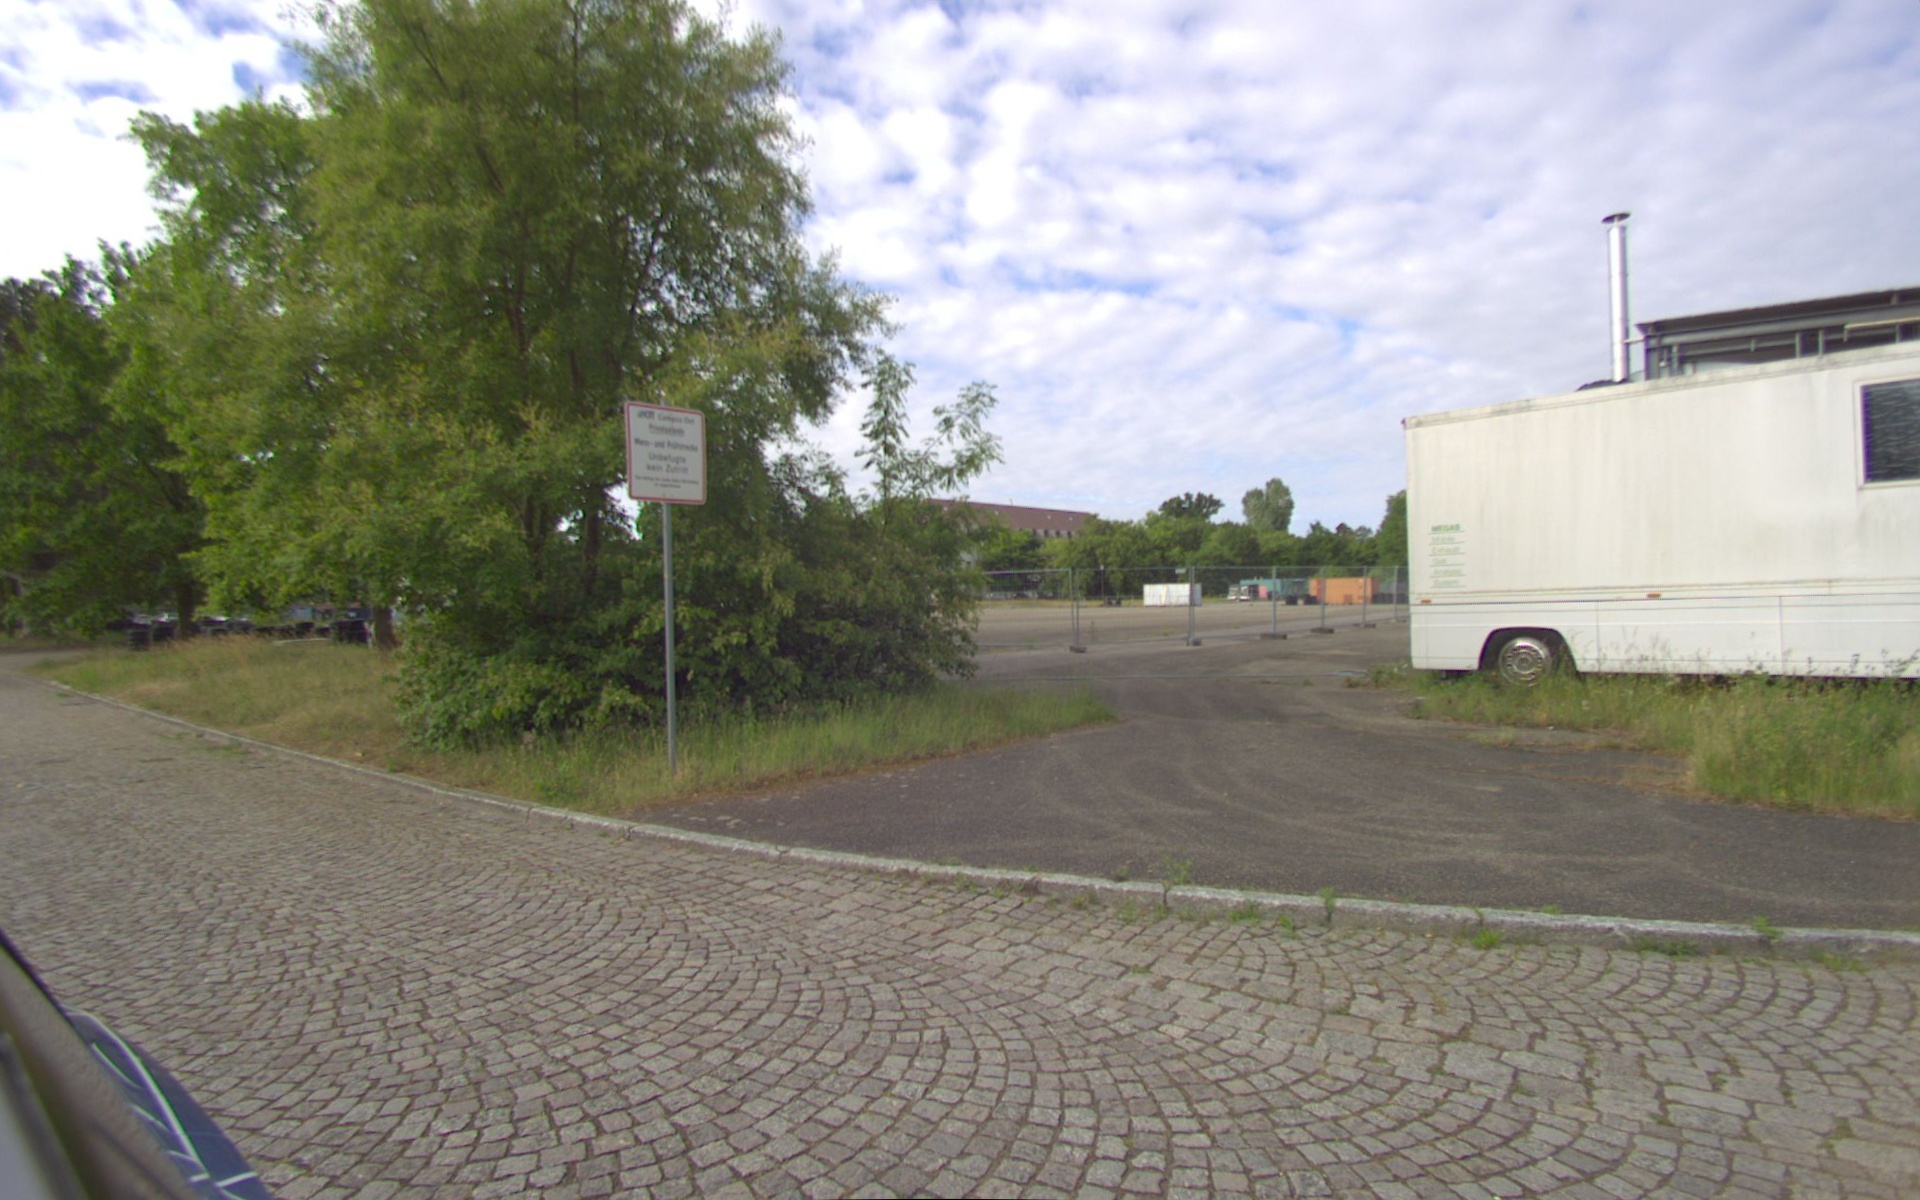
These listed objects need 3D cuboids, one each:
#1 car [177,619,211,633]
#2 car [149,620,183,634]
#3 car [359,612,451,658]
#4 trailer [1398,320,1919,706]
[{"bbox_3d":[-85.432,2.863,112.886,4.447,1.460,1.974,-1,0,38],"label":"car"},{"bbox_3d":[-87.034,2.921,110.900,4.447,1.460,1.974,-1,0,38],"label":"car"},{"bbox_3d":[-19.125,1.179,34.802,1.802,1.442,4.223,-1,0,-43],"label":"car"},{"bbox_3d":[10.499,-0.860,10.417,10.723,3.734,2.627,-2,-1,44],"label":"trailer"}]
